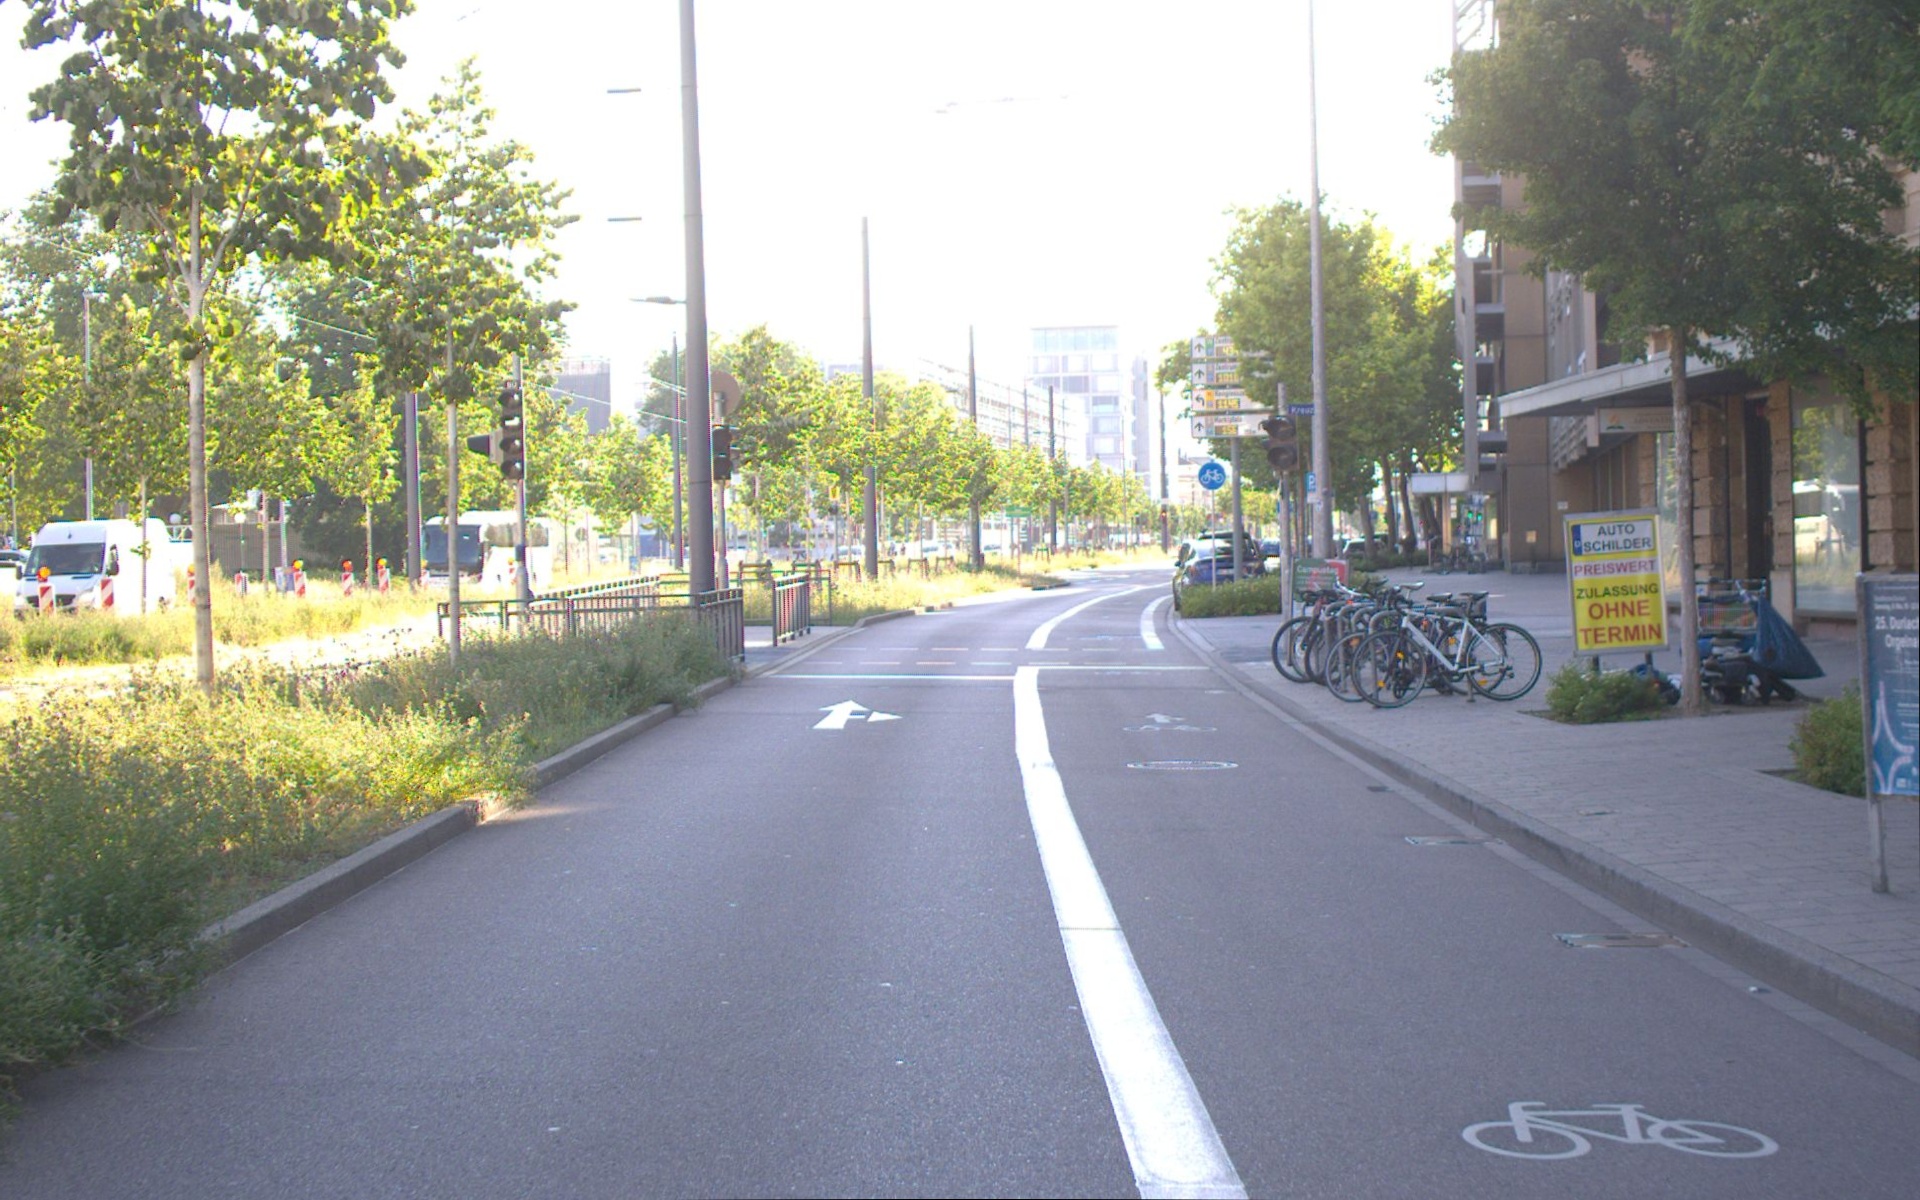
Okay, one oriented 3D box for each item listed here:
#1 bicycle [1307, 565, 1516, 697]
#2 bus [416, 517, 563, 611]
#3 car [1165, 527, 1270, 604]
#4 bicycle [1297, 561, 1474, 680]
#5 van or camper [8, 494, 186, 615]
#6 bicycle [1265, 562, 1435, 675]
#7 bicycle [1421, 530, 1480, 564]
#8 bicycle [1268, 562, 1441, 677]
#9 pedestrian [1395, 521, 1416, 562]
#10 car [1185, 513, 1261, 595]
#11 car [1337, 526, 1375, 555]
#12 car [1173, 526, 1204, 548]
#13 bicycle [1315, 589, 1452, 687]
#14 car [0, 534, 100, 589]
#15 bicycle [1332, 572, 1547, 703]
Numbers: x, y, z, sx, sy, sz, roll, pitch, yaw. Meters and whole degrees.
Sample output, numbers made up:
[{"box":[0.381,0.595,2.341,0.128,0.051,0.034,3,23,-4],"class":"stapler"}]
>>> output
[{"box":[4.204,0.287,32.089,1.844,1.101,0.566,-3,1,5],"class":"bicycle"},{"box":[-18.949,-1.515,139.418,2.800,3.582,12.695,-1,1,6],"class":"bus"},{"box":[5.833,-0.811,78.327,1.931,1.593,4.699,-3,1,0],"class":"car"},{"box":[4.349,0.203,35.184,1.722,1.100,0.507,-3,1,5],"class":"bicycle"},{"box":[-19.584,-1.090,78.382,2.221,2.501,7.201,-3,2,-1],"class":"van or camper"},{"box":[4.195,0.199,37.058,1.754,1.100,0.507,-3,1,5],"class":"bicycle"},{"box":[16.547,-1.793,115.924,1.899,1.089,0.392,-2,1,1],"class":"bicycle"},{"box":[4.175,0.202,36.467,1.754,1.100,0.507,-3,1,5],"class":"bicycle"},{"box":[18.162,-2.399,140.261,0.789,1.643,1.136,-2,1,7],"class":"pedestrian"},{"box":[6.546,-1.157,85.729,1.735,1.912,4.393,-3,1,4],"class":"car"},{"box":[20.548,-3.089,178.504,1.707,1.413,4.275,-3,1,9],"class":"car"},{"box":[14.648,-4.036,219.983,1.777,1.423,3.999,0,1,7],"class":"car"},{"box":[4.149,0.368,33.743,1.275,0.874,0.507,-3,1,5],"class":"bicycle"},{"box":[-30.589,-1.225,110.636,5.227,1.711,2.125,-1,1,5],"class":"car"},{"box":[4.251,0.332,30.565,1.805,1.044,0.566,-3,1,5],"class":"bicycle"}]
